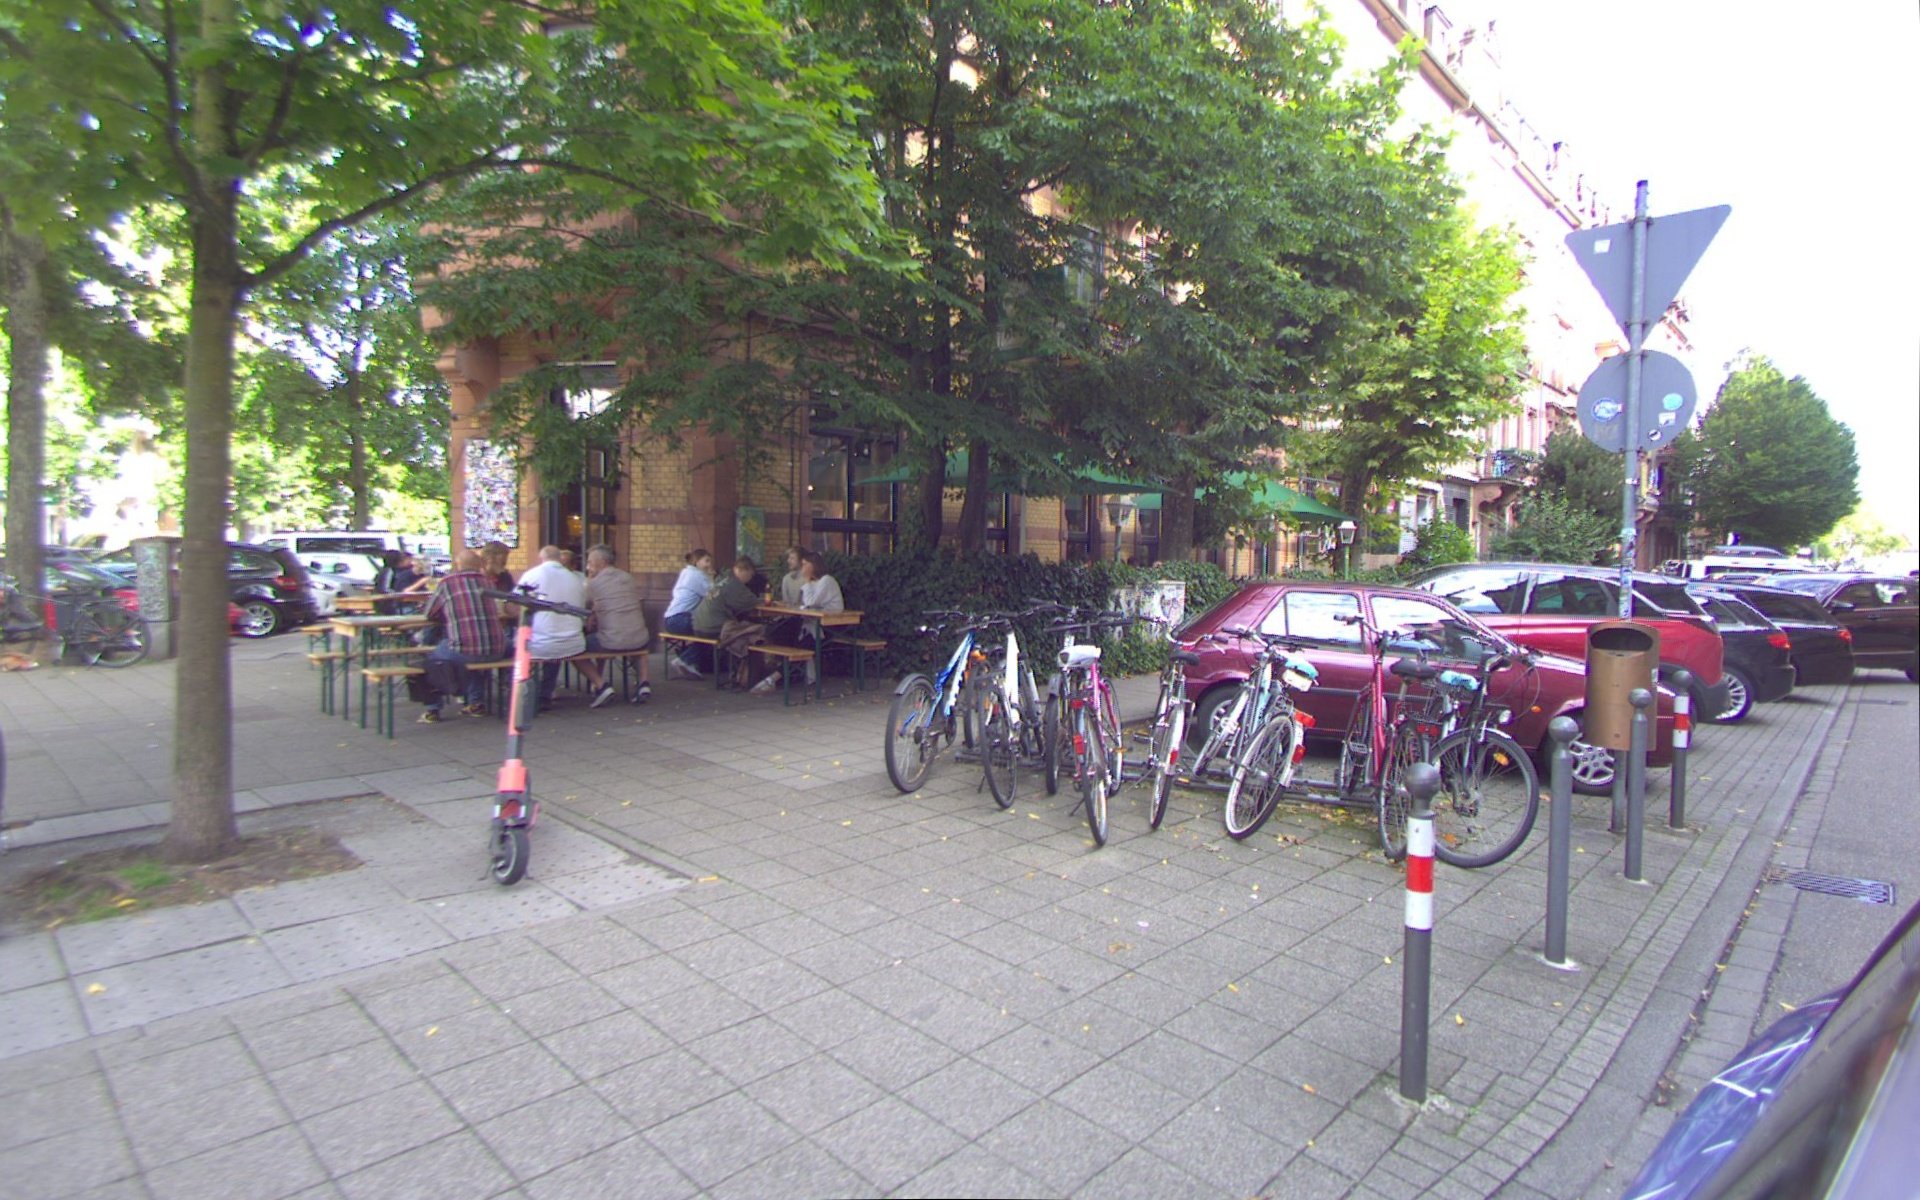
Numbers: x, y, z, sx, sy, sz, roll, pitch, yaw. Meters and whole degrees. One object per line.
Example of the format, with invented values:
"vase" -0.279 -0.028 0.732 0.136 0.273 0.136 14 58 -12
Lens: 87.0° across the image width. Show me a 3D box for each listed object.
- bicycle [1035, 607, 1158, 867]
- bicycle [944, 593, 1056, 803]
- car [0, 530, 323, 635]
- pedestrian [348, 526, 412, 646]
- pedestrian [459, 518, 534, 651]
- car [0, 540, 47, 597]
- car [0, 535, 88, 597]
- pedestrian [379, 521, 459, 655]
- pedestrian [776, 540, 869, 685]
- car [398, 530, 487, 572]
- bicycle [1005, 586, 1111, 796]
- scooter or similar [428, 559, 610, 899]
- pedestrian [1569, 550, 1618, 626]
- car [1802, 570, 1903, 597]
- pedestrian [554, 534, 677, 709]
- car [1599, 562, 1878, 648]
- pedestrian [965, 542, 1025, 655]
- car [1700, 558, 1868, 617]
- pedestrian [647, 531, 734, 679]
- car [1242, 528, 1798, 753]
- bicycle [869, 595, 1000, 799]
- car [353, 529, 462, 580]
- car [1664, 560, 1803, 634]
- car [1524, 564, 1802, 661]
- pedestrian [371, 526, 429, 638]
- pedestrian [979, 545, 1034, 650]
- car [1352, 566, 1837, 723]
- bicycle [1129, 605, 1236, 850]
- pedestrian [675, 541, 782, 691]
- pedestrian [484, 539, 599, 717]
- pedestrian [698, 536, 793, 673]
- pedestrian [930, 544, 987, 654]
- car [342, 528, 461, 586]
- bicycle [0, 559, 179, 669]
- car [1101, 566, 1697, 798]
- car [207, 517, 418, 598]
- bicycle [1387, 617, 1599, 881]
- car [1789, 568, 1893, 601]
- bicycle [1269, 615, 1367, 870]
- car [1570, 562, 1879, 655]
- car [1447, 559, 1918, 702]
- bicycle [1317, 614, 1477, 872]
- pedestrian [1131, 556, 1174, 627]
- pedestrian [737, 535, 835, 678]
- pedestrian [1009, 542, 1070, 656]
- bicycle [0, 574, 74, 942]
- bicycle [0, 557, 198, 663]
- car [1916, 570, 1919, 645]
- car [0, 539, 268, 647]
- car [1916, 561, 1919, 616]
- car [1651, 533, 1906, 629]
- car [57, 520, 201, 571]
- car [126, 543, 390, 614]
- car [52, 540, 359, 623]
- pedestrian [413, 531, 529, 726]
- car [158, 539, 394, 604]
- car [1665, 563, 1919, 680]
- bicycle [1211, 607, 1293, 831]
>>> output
"bicycle" 0.806 0.635 5.593 0.384 1.052 1.913 4 4 14
"bicycle" 0.281 0.532 6.239 0.331 1.052 1.451 4 4 14
"car" -13.284 -0.307 16.772 4.333 1.571 2.005 0 2 -23
"pedestrian" -7.901 -0.201 13.805 0.623 1.583 0.702 0 2 -19
"pedestrian" -5.700 -0.200 12.478 0.612 1.583 0.670 1 2 1
"car" -29.566 -0.947 29.639 1.990 1.682 3.946 2 3 38
"car" -30.510 -1.096 32.151 1.990 1.949 3.946 2 3 38
"pedestrian" -6.630 -0.159 12.421 0.593 1.583 0.692 1 2 3
"pedestrian" -1.363 0.103 10.024 0.668 1.368 0.620 2 2 40
"car" -26.651 -2.529 52.268 3.917 2.039 2.004 -1 1 -22
"bicycle" 0.682 0.502 6.605 0.349 1.086 1.791 4 4 14
"scooter or similar" -1.950 0.471 4.552 0.651 1.290 1.252 0 2 -21
"pedestrian" 16.091 -0.316 25.701 0.710 1.901 0.841 0 2 -42
"car" 60.530 -1.128 68.713 4.734 1.562 1.865 3 3 12
"pedestrian" -2.977 0.154 8.742 0.796 1.424 0.692 2 2 40
"car" 16.864 0.062 22.134 4.390 1.495 1.888 4 2 5
"pedestrian" 0.503 -0.034 14.665 0.627 1.589 0.562 3 2 40
"car" 30.614 -0.491 37.700 4.639 1.806 1.781 6 3 43
"pedestrian" -2.707 0.032 10.175 0.571 1.424 0.629 2 2 37
"car" 5.058 0.254 9.863 4.299 1.665 1.811 4 3 19
"bicycle" -0.118 0.521 6.182 0.445 1.053 1.380 1 2 14
"car" -23.093 -1.881 42.324 3.920 2.038 2.003 0 2 -30
"car" 20.123 -0.098 26.432 2.437 1.687 1.339 5 2 18
"car" 12.601 0.169 18.348 3.655 1.503 1.739 3 2 6
"pedestrian" -8.128 -0.263 14.710 0.629 1.583 0.702 0 2 -19
"pedestrian" 0.723 -0.056 15.770 0.627 1.589 0.562 3 2 40
"car" 6.933 0.389 11.701 4.360 1.475 1.931 2 2 20
"bicycle" 1.324 0.630 5.891 0.439 1.052 1.898 4 4 14
"pedestrian" -2.230 0.129 9.757 0.671 1.375 0.747 2 2 40
"pedestrian" -3.399 0.194 8.217 0.756 1.359 0.588 2 2 40
"pedestrian" -2.323 0.028 10.979 0.671 1.424 0.747 2 2 40
"pedestrian" -0.022 -0.031 15.132 0.627 1.589 0.562 3 2 40
"car" -22.018 -1.665 39.906 3.924 2.174 2.001 -1 2 -35
"bicycle" -9.716 0.132 11.028 1.812 1.144 0.569 -1 2 -16
"car" 3.195 0.493 8.064 3.889 1.475 1.761 1 2 17
"car" -16.706 -1.071 26.389 4.333 1.973 2.005 0 2 -23
"bicycle" 2.857 0.705 5.624 0.542 1.052 1.850 4 4 14
"car" 49.573 -0.892 57.009 3.935 1.720 1.848 2 1 10
"bicycle" 1.995 0.689 5.781 0.343 1.052 2.008 4 4 16
"car" 14.932 0.117 20.028 4.397 1.482 1.875 3 2 10
"car" 9.455 0.314 13.788 4.703 1.474 2.046 4 2 17
"bicycle" 2.366 0.681 5.660 0.454 1.052 1.850 4 4 14
"pedestrian" 3.472 -0.161 18.272 0.486 1.233 0.641 5 4 35
"pedestrian" -1.816 0.048 10.573 0.671 1.424 0.747 2 2 40
"pedestrian" 1.207 -0.034 15.324 0.645 1.661 0.555 5 4 40
"bicycle" -3.748 0.480 3.776 0.641 1.108 1.928 -1 3 -41
"bicycle" -9.836 0.108 11.523 1.811 1.148 0.428 0 3 -16
"car" 23.266 0.136 23.237 1.807 1.652 3.936 0 0 45
"car" -12.345 -0.129 14.257 3.916 1.404 2.005 0 2 -21
"car" 36.307 -0.443 37.051 1.807 1.950 3.936 -1 0 45
"car" 22.642 -0.569 28.217 5.079 2.434 1.912 2 2 12
"car" -33.062 -2.123 40.368 1.986 1.859 4.069 -1 1 34
"car" -14.874 -0.466 21.783 4.333 1.388 2.005 0 2 -23
"car" -14.141 -0.360 19.337 4.333 1.449 2.005 0 2 -23
"pedestrian" -3.750 0.186 7.754 0.756 1.409 0.541 2 2 40
"car" -16.093 -0.679 24.116 4.333 1.433 2.005 0 2 -23
"car" 13.713 0.277 15.846 4.296 1.674 1.879 0 1 -10
"bicycle" 1.809 0.638 6.263 0.343 1.052 1.848 4 4 16
